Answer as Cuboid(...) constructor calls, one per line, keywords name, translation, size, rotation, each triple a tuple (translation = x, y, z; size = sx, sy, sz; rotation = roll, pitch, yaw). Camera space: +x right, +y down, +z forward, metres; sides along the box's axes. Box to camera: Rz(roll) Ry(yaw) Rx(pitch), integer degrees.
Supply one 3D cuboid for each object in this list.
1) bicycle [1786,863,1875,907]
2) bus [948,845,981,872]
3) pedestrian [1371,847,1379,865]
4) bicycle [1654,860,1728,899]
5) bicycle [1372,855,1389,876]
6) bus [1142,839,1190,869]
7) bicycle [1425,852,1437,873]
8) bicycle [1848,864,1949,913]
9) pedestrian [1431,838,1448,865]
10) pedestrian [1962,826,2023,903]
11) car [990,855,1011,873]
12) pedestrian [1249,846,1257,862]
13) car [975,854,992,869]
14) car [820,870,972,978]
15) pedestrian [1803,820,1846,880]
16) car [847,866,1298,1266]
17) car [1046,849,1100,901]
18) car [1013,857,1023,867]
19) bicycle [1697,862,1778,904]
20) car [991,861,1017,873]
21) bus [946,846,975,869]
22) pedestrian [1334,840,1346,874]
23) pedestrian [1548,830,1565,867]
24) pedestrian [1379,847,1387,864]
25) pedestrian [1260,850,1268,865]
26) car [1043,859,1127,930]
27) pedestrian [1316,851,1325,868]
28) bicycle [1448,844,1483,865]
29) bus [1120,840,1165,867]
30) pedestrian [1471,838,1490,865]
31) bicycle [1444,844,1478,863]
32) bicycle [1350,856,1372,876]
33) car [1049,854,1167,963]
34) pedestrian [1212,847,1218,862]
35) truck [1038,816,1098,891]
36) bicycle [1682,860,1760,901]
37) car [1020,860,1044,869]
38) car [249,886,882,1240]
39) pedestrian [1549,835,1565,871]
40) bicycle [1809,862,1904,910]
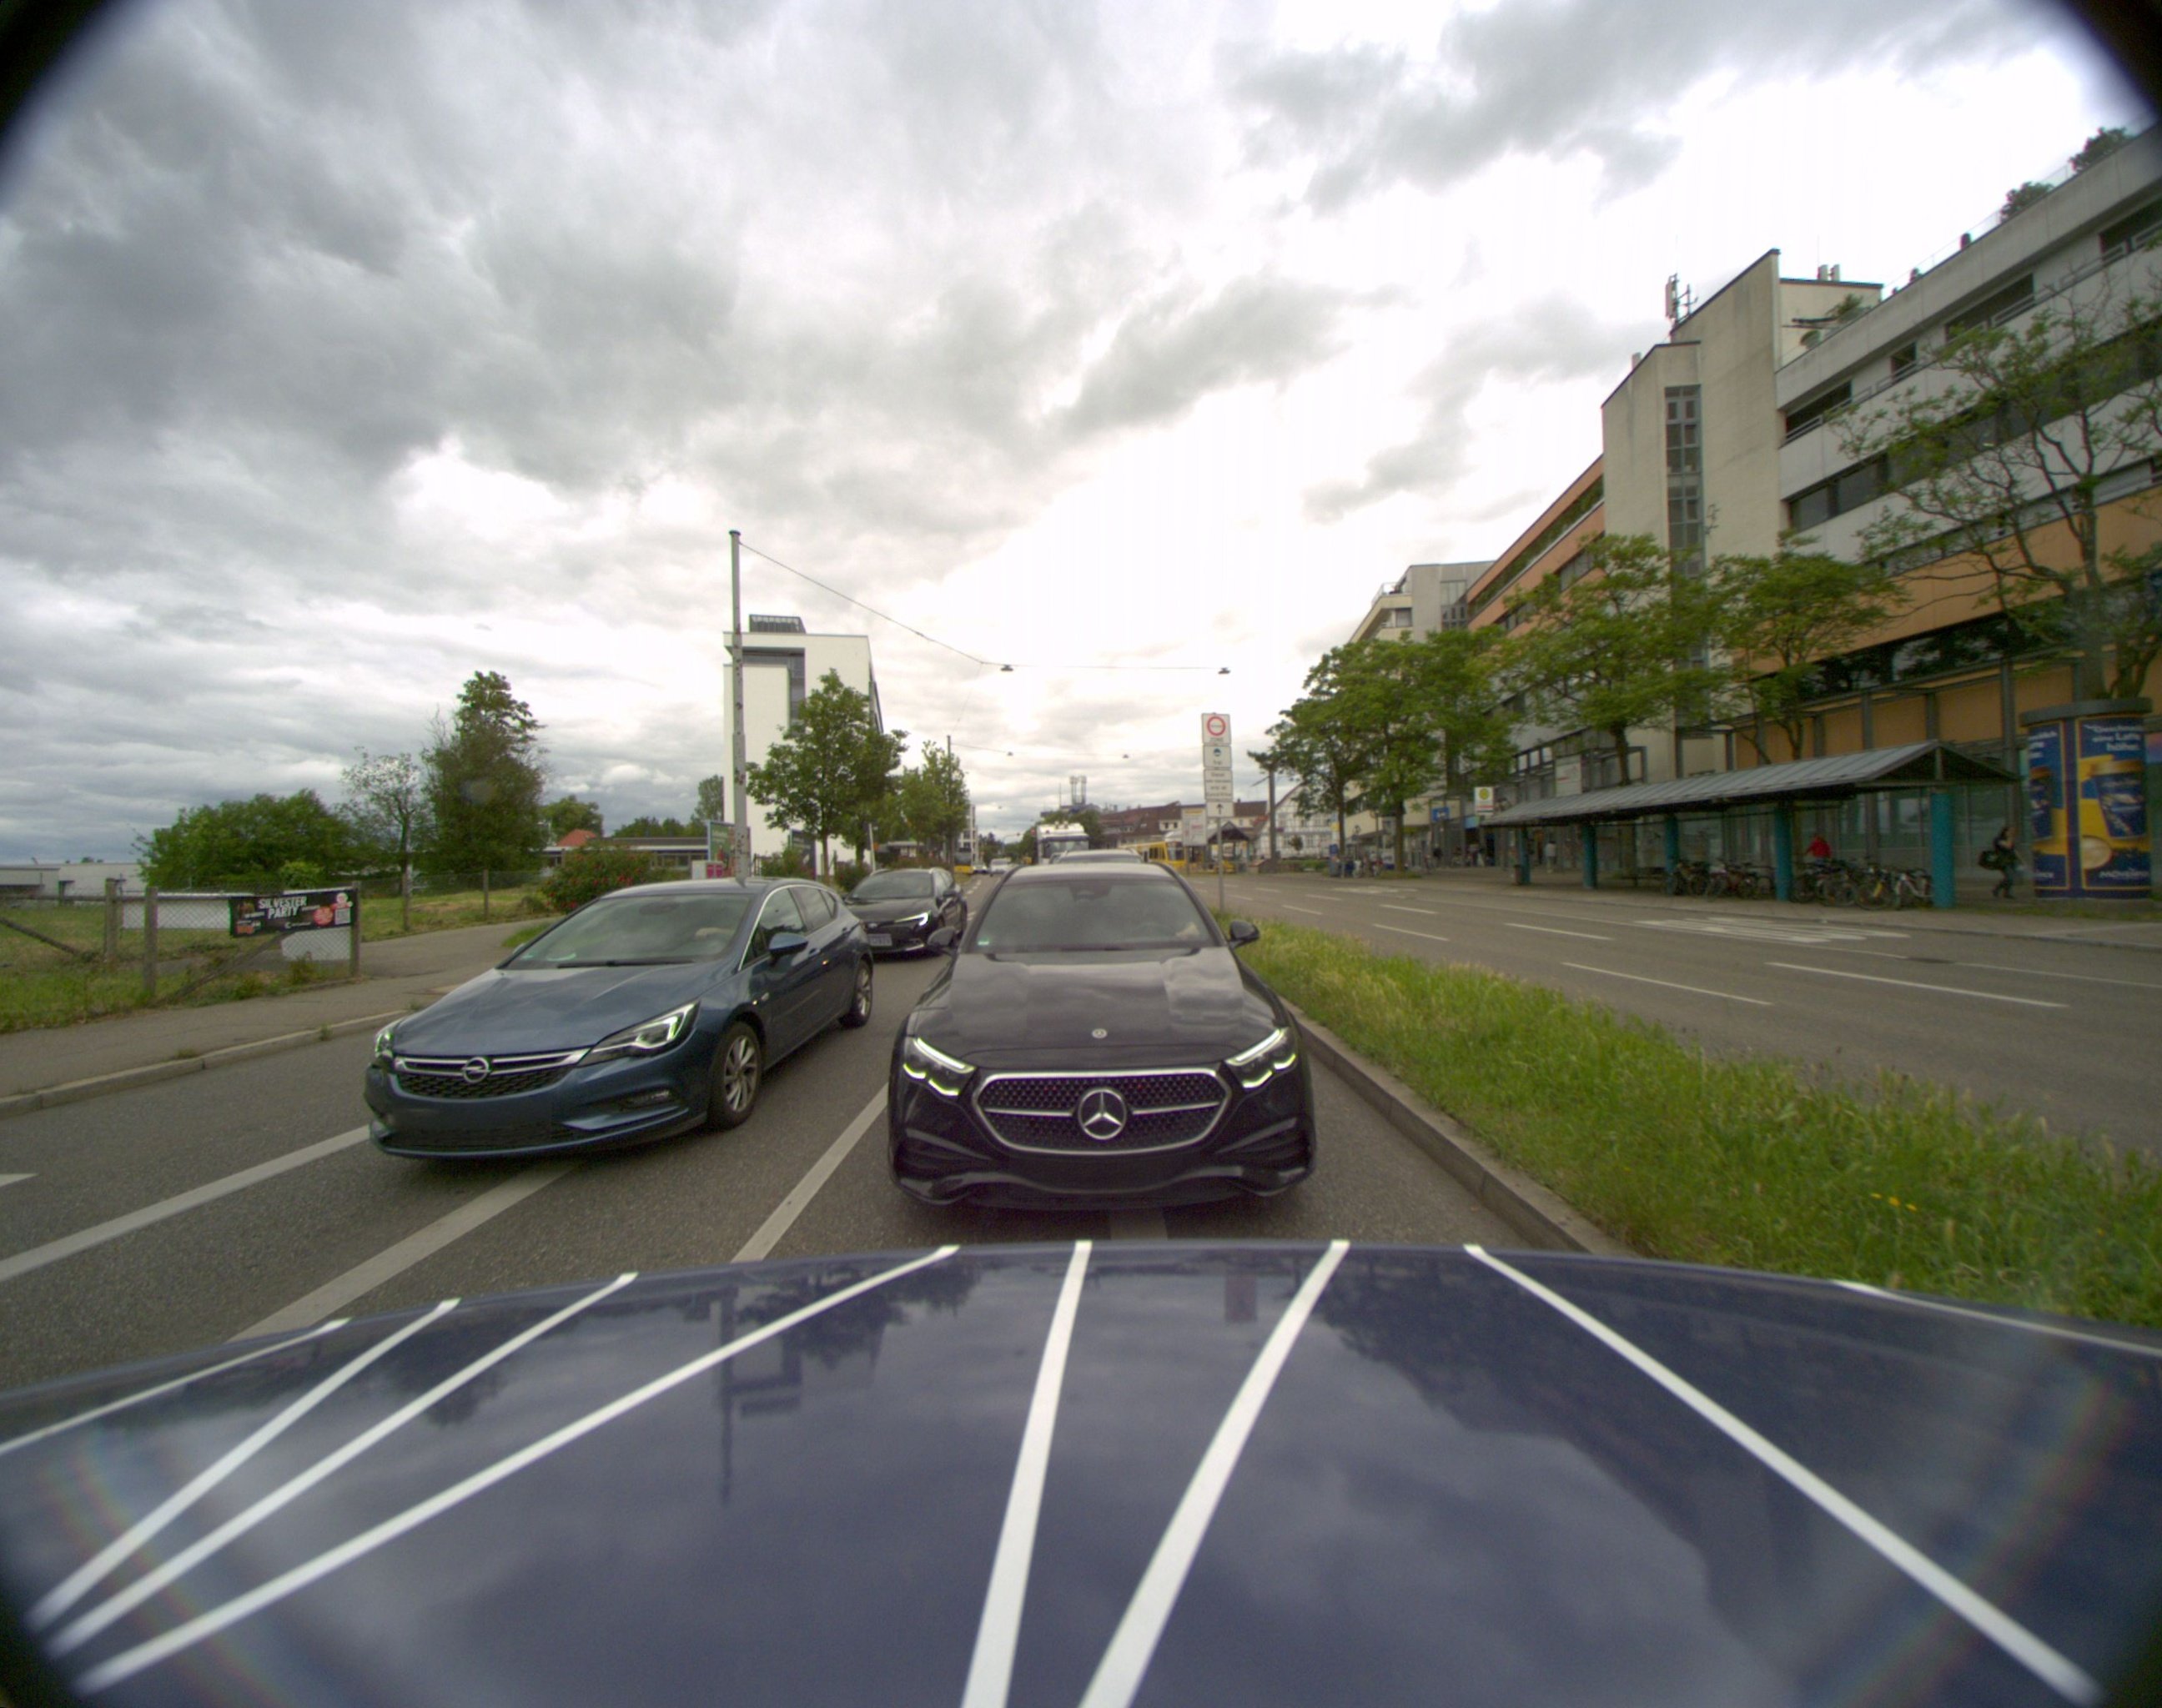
Cuboid(name="bicycle", translation=(19.034, 0.774, 19.299), size=(1.735, 1.035, 0.549), rotation=(-2, 1, -2))
Cuboid(name="bus", translation=(-12.802, 0.398, 82.720), size=(2.969, 2.616, 12.137), rotation=(-2, 1, -11))
Cuboid(name="pedestrian", translation=(25.416, 0.159, 65.618), size=(0.555, 1.485, 0.454), rotation=(-1, 1, 8))
Cuboid(name="bicycle", translation=(18.214, 0.748, 22.694), size=(1.735, 1.035, 0.549), rotation=(-3, 1, -2))
Cuboid(name="bicycle", translation=(16.413, 0.624, 41.637), size=(0.593, 1.071, 2.041), rotation=(0, 1, 29))
Cuboid(name="bus", translation=(8.713, 0.009, 79.006), size=(2.556, 2.966, 8.498), rotation=(-1, 0, -11))
Cuboid(name="bicycle", translation=(19.497, 0.470, 42.376), size=(0.593, 1.119, 2.040), rotation=(0, 1, 24))
Cuboid(name="bicycle", translation=(18.694, 0.784, 17.389), size=(1.735, 1.035, 0.549), rotation=(-2, 1, -2))
Cuboid(name="pedestrian", translation=(24.328, -0.150, 51.571), size=(0.765, 1.835, 0.752), rotation=(-1, 1, 1))
Cuboid(name="pedestrian", translation=(21.695, 0.246, 18.100), size=(0.531, 1.776, 0.770), rotation=(-1, 1, -7))
Cuboid(name="car", translation=(-7.573, 0.920, 71.756), size=(1.852, 1.606, 3.781), rotation=(-3, 0, -6))
Cuboid(name="pedestrian", translation=(22.473, 0.010, 99.084), size=(0.879, 2.002, 1.010), rotation=(-1, 1, 6))
Cuboid(name="car", translation=(-13.382, 1.058, 104.127), size=(1.853, 1.875, 4.132), rotation=(-3, 0, -12))
Cuboid(name="car", translation=(-3.025, 1.086, 13.250), size=(1.665, 1.448, 3.921), rotation=(-2, 0, 0))
Cuboid(name="pedestrian", translation=(25.687, -0.143, 26.262), size=(0.710, 2.002, 0.793), rotation=(-2, 1, -11))
Cuboid(name="car", translation=(-0.045, 0.885, 5.182), size=(1.793, 1.507, 4.249), rotation=(-1, 0, 0))
Cuboid(name="car", translation=(-0.357, 0.713, 28.337), size=(1.865, 1.773, 3.999), rotation=(-1, 0, -2))
Cuboid(name="car", translation=(-12.538, 1.584, 150.993), size=(2.000, 1.811, 3.997), rotation=(-1, 0, -7))
Cuboid(name="bicycle", translation=(17.957, 0.790, 20.801), size=(1.735, 1.035, 0.549), rotation=(-3, 1, -2))
Cuboid(name="car", translation=(-12.468, 2.039, 123.175), size=(1.994, 1.811, 4.008), rotation=(0, 1, 42))
Cuboid(name="bus", translation=(-15.207, 0.355, 95.044), size=(2.969, 2.616, 12.911), rotation=(-2, 1, -11))
Cuboid(name="pedestrian", translation=(17.408, 0.182, 51.037), size=(0.590, 2.294, 0.608), rotation=(-1, 1, -2))
Cuboid(name="pedestrian", translation=(25.524, -0.297, 40.784), size=(0.566, 2.002, 0.611), rotation=(-1, 1, 6))
Cuboid(name="pedestrian", translation=(26.015, 0.133, 65.530), size=(0.555, 1.485, 0.454), rotation=(-1, 1, 8))
Cuboid(name="pedestrian", translation=(19.240, 0.370, 79.887), size=(0.577, 1.533, 0.583), rotation=(-1, 1, -8))
Cuboid(name="car", translation=(0.054, 0.913, 18.901), size=(1.865, 1.520, 3.999), rotation=(-1, 0, -1))
Cuboid(name="pedestrian", translation=(22.320, 0.528, 70.784), size=(0.577, 1.533, 0.583), rotation=(-1, 1, -8))
Cuboid(name="bicycle", translation=(27.006, 0.032, 53.390), size=(2.139, 1.367, 0.620), rotation=(-2, 1, 18))
Cuboid(name="bus", translation=(6.949, -0.045, 87.943), size=(2.556, 2.966, 9.790), rotation=(-1, 0, -11))
Cuboid(name="pedestrian", translation=(24.971, -0.171, 47.481), size=(0.765, 1.673, 0.752), rotation=(-1, 1, 1))
Cuboid(name="bicycle", translation=(27.768, -0.026, 55.542), size=(2.138, 1.358, 0.620), rotation=(-2, 1, 26))
Cuboid(name="bicycle", translation=(15.490, 0.656, 42.008), size=(0.593, 1.071, 2.041), rotation=(0, 1, 38))
Cuboid(name="car", translation=(0.401, 0.822, 13.475), size=(1.734, 1.601, 4.000), rotation=(-2, 0, 0))
Cuboid(name="pedestrian", translation=(18.483, 0.116, 104.517), size=(0.742, 2.002, 0.939), rotation=(-1, 1, 11))
Cuboid(name="truck", translation=(-0.756, -0.040, 36.717), size=(2.490, 3.258, 7.428), rotation=(-1, 0, -4))
Cuboid(name="bicycle", translation=(18.293, 0.743, 21.733), size=(1.735, 1.035, 0.549), rotation=(-4, 1, -2))
Cuboid(name="car", translation=(-9.071, 1.866, 139.386), size=(3.989, 1.545, 1.854), rotation=(-1, 1, 29))
Cuboid(name="car", translation=(-2.905, 1.051, 5.519), size=(1.826, 1.402, 4.000), rotation=(-2, 0, 0))
Cuboid(name="pedestrian", translation=(24.109, -0.047, 38.479), size=(0.648, 1.799, 0.761), rotation=(0, 1, 34))
Cuboid(name="bicycle", translation=(18.635, 0.752, 18.274), size=(1.735, 1.035, 0.549), rotation=(-3, 1, -2))
